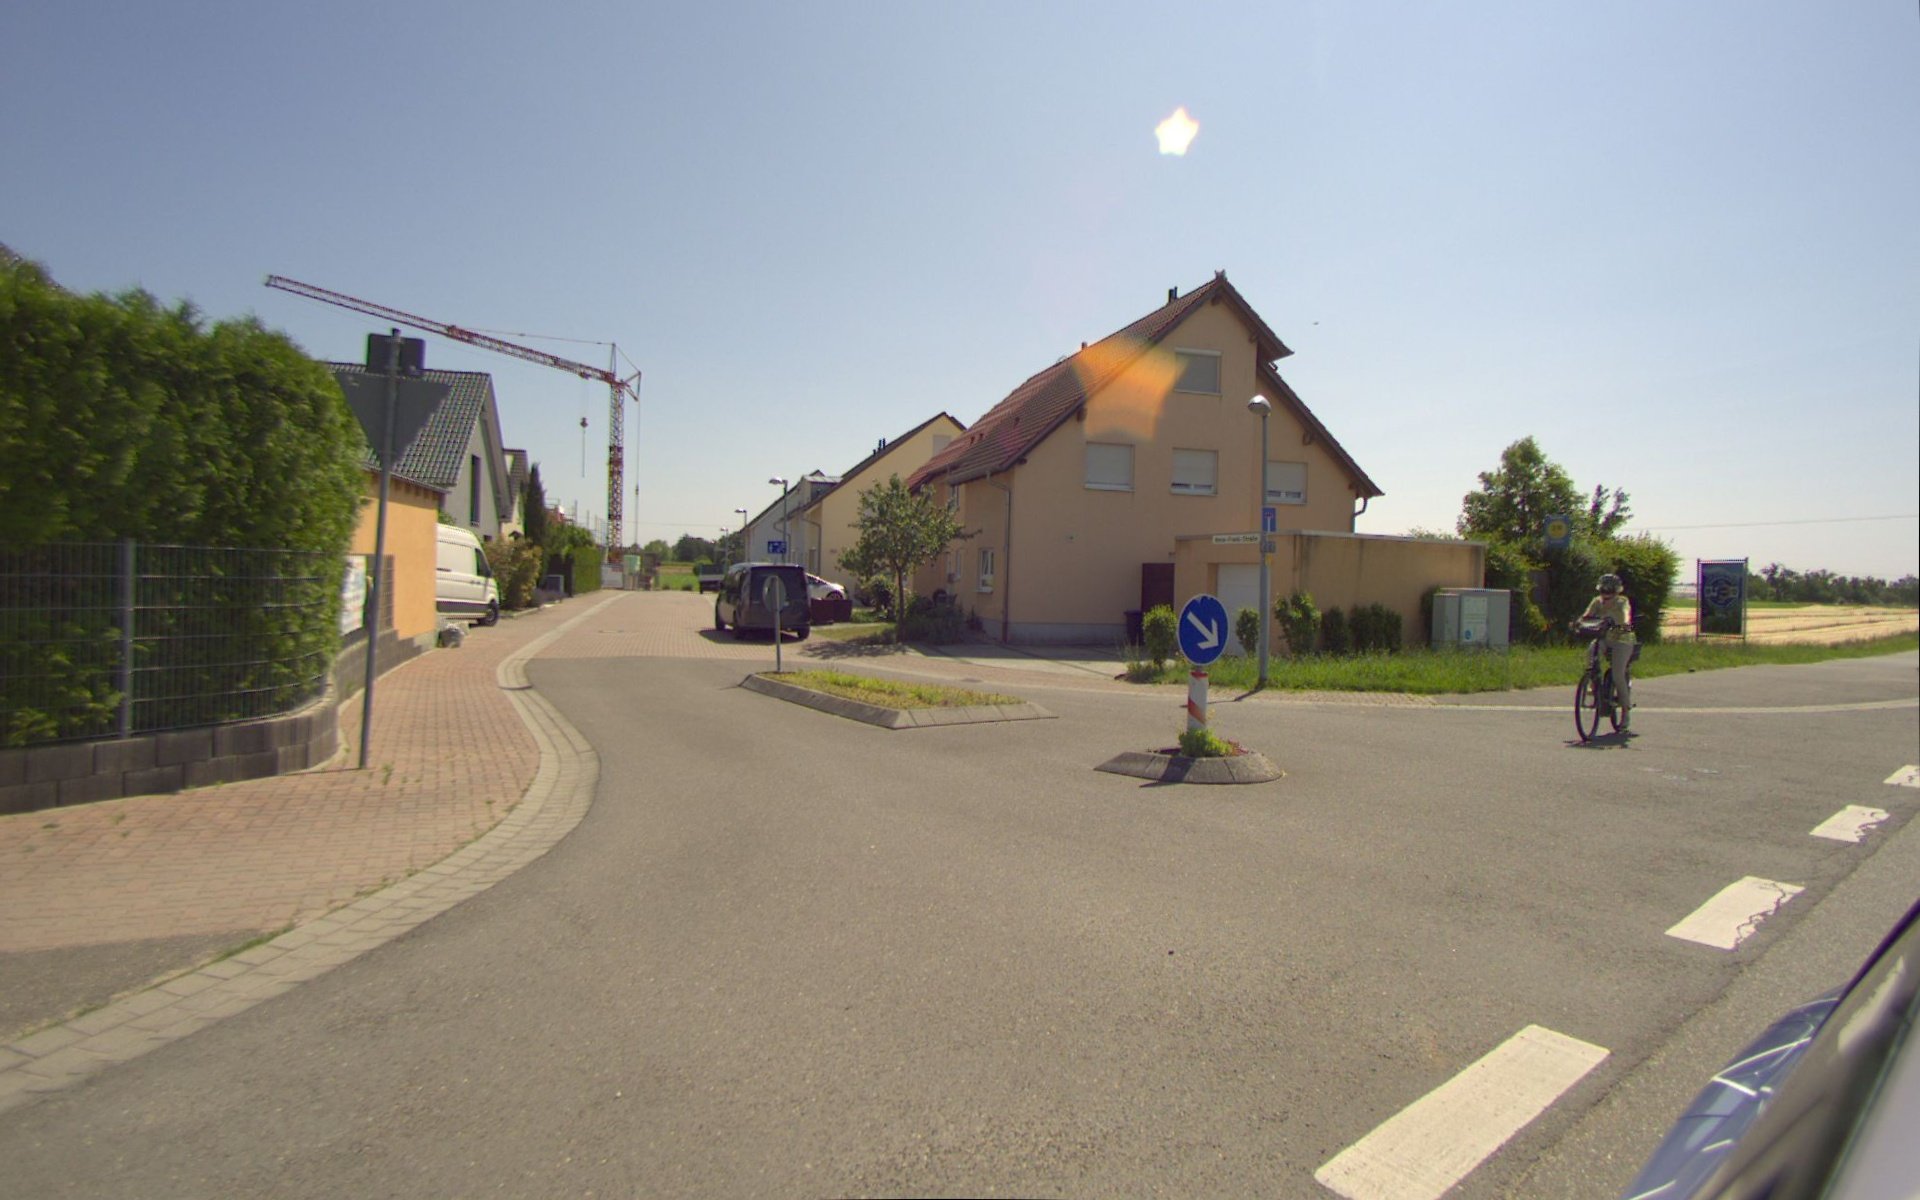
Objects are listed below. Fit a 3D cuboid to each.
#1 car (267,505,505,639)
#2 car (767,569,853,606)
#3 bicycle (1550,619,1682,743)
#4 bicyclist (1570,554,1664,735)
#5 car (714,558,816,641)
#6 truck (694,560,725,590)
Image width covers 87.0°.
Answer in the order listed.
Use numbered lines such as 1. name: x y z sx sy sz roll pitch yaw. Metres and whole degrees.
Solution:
1. car: -13.436 -0.646 24.427 2.411 2.661 6.882 3 1 -7
2. car: -6.567 -0.544 44.261 3.484 1.496 1.758 1 2 -16
3. bicycle: 7.300 0.839 11.218 2.234 1.173 0.611 -1 2 -41
4. bicyclist: 7.258 0.457 11.180 0.846 1.913 0.646 0 1 -41
5. car: -5.433 -0.101 27.736 1.958 2.038 4.504 -1 3 -21
6. truck: -19.760 -2.004 79.685 2.168 2.257 5.586 1 2 -15
